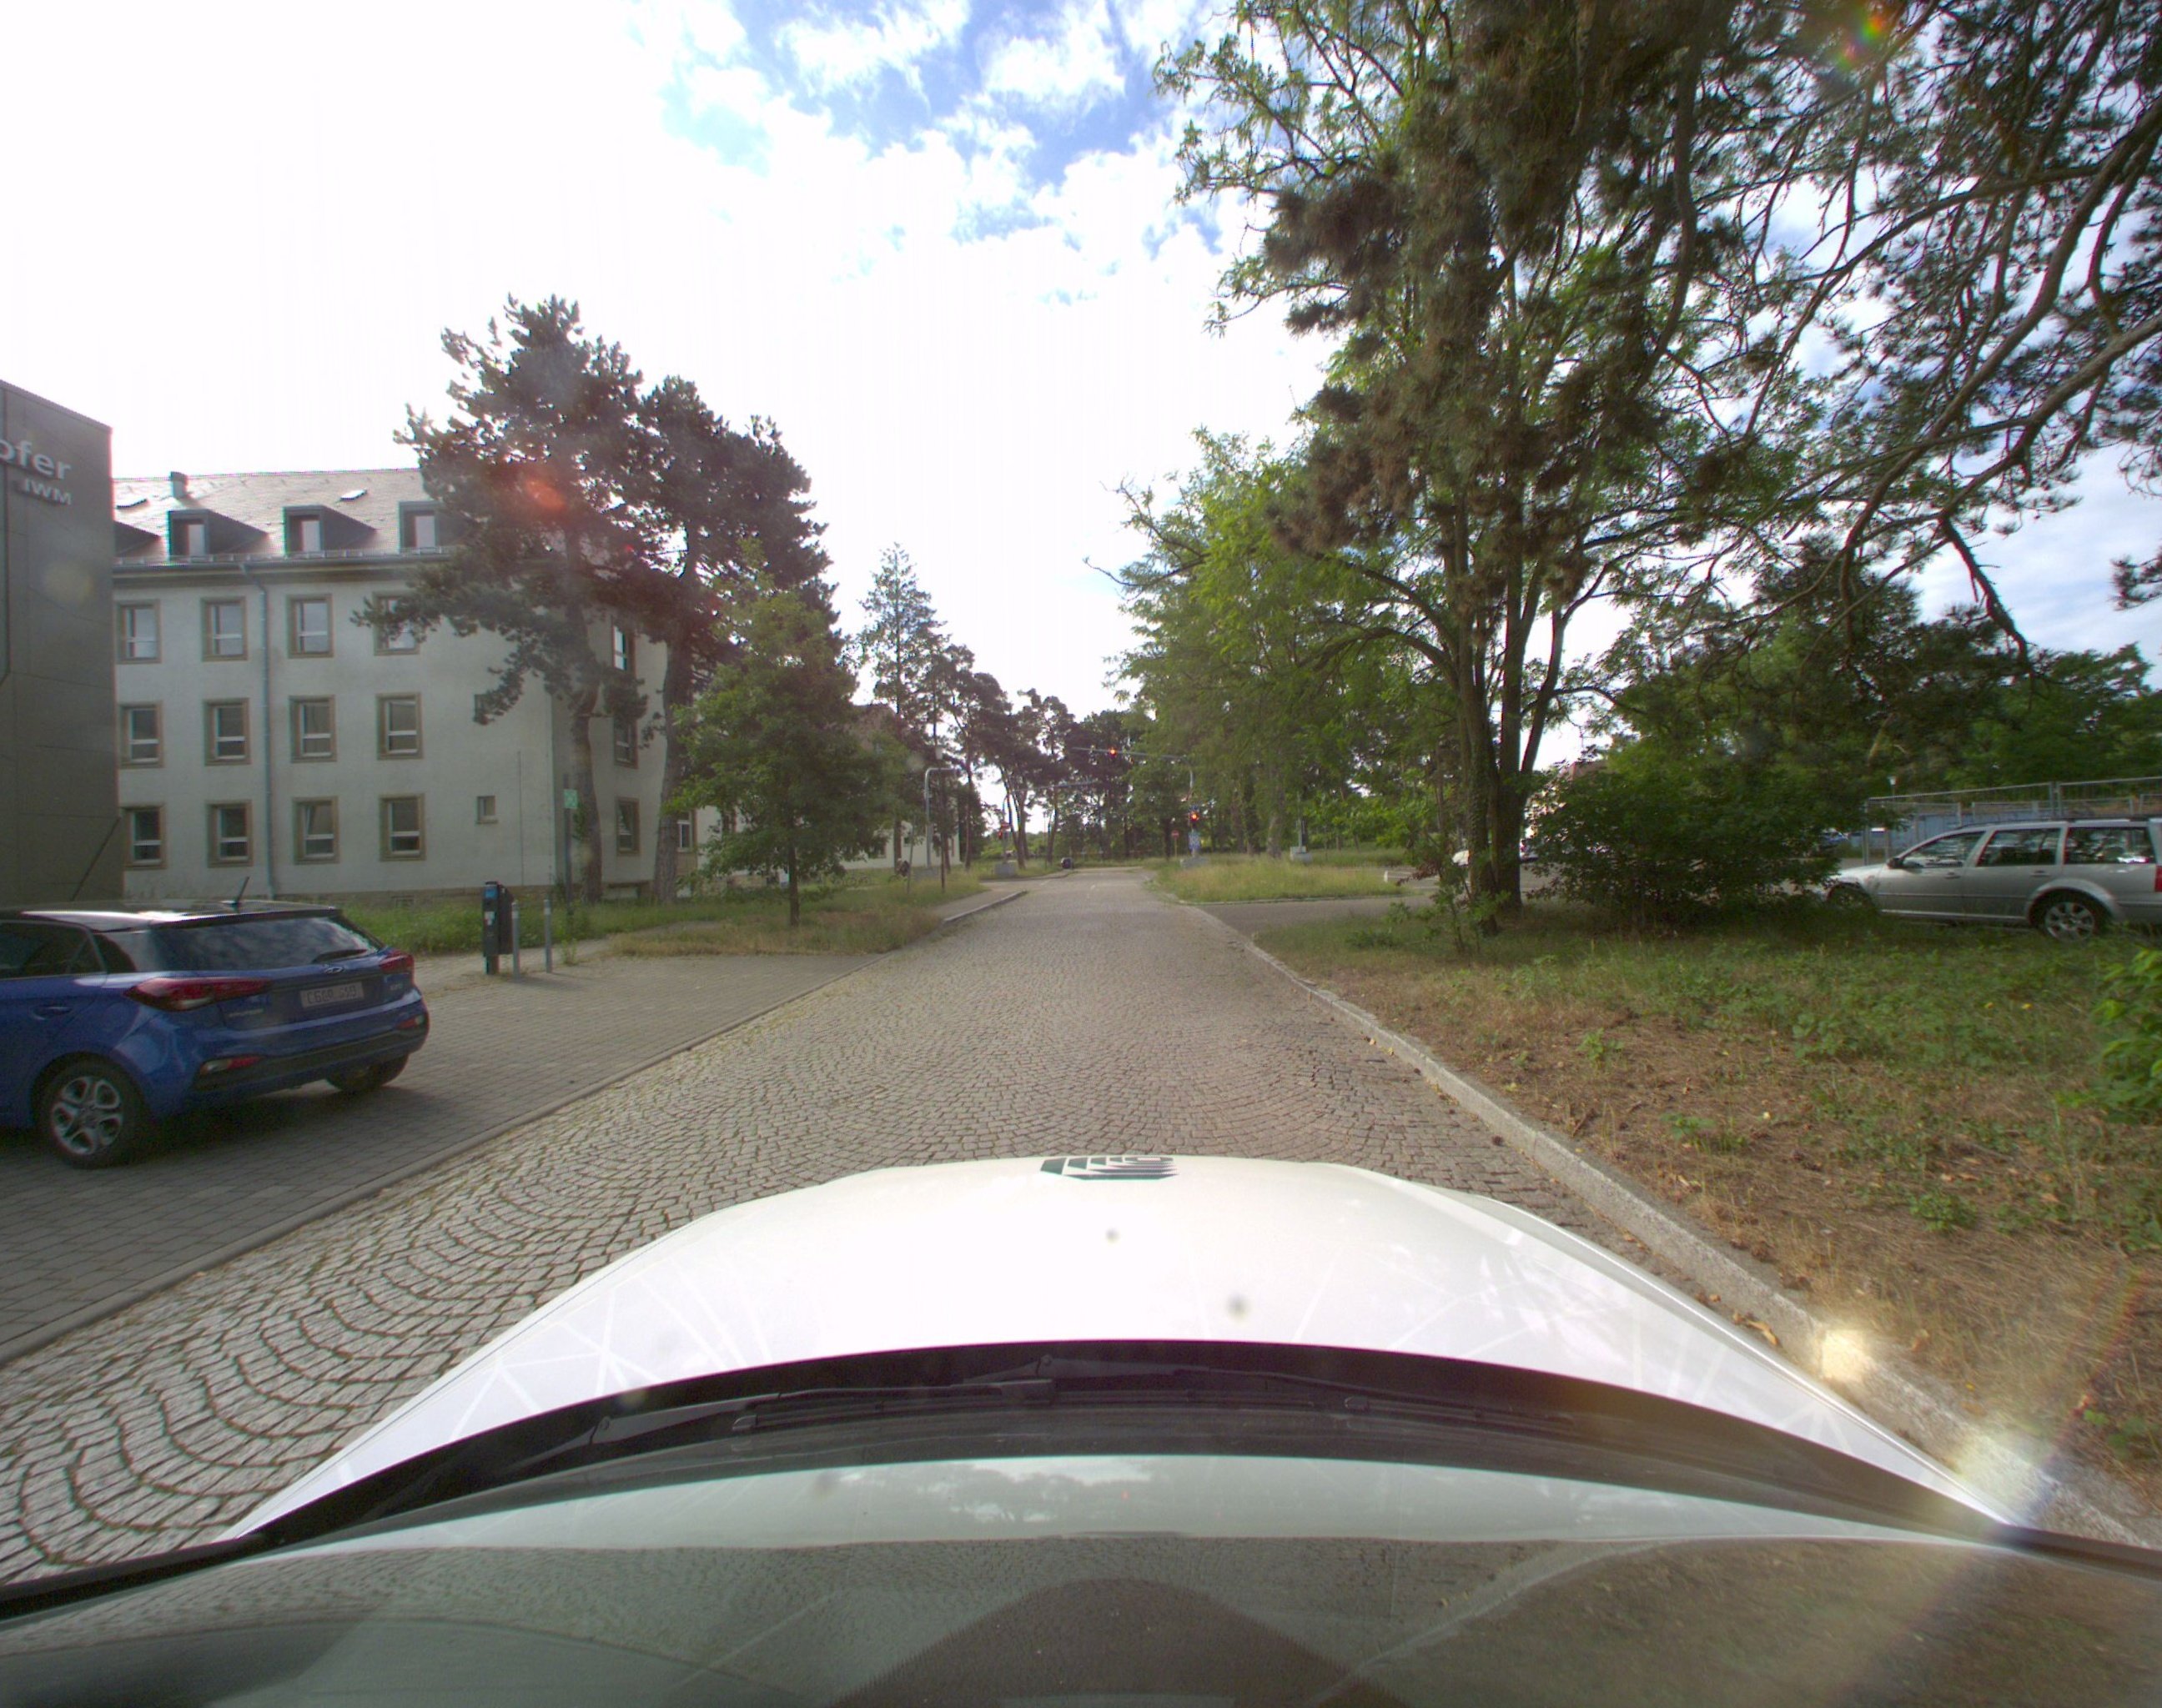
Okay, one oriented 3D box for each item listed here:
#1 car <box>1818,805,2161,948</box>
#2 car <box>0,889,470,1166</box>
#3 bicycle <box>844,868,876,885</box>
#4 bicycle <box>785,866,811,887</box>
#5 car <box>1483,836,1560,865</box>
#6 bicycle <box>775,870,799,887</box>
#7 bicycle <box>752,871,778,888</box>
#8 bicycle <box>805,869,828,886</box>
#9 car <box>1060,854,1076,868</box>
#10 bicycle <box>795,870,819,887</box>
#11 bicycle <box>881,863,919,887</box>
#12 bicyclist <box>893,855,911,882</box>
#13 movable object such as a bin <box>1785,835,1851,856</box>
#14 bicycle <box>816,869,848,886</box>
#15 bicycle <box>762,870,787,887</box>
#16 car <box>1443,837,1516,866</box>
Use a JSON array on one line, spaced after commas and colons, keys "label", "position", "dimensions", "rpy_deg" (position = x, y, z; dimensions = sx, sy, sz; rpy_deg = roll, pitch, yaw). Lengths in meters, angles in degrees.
[{"label": "car", "position": [11.615, 0.239, 9.930], "dimensions": [1.640, 1.427, 4.073], "rpy_deg": [1, 0, 1]}, {"label": "car", "position": [-6.779, 1.037, 5.635], "dimensions": [3.748, 1.478, 1.854], "rpy_deg": [-1, 0, 4]}, {"label": "bicycle", "position": [-14.775, 1.502, 54.480], "dimensions": [1.848, 1.076, 0.832], "rpy_deg": [-2, 0, 3]}, {"label": "bicycle", "position": [-19.474, 1.532, 56.079], "dimensions": [0.733, 1.385, 2.713], "rpy_deg": [-2, 0, 2]}, {"label": "car", "position": [25.608, -0.147, 47.512], "dimensions": [1.988, 1.481, 4.422], "rpy_deg": [-2, -2, -2]}, {"label": "bicycle", "position": [-20.265, 1.691, 56.207], "dimensions": [0.733, 1.076, 2.274], "rpy_deg": [-2, 0, 2]}, {"label": "bicycle", "position": [-21.655, 1.710, 55.818], "dimensions": [0.733, 1.076, 2.274], "rpy_deg": [-2, 0, 2]}, {"label": "bicycle", "position": [-18.098, 1.624, 55.771], "dimensions": [0.733, 1.076, 2.274], "rpy_deg": [-2, 0, 2]}, {"label": "car", "position": [-1.781, 0.915, 111.550], "dimensions": [2.048, 1.846, 4.001], "rpy_deg": [-2, 0, 1]}, {"label": "bicycle", "position": [-18.740, 1.653, 55.706], "dimensions": [0.733, 1.076, 2.274], "rpy_deg": [-2, 0, 2]}, {"label": "bicycle", "position": [-11.577, 1.327, 52.083], "dimensions": [2.187, 1.387, 0.932], "rpy_deg": [-2, 0, -22]}, {"label": "bicyclist", "position": [-11.477, 0.953, 52.146], "dimensions": [0.924, 1.697, 0.950], "rpy_deg": [-2, -1, -22]}, {"label": "movable object such as a bin", "position": [31.485, -0.356, 34.830], "dimensions": [1.179, 0.825, 1.957], "rpy_deg": [-2, 0, 6]}, {"label": "bicycle", "position": [-16.658, 1.559, 54.485], "dimensions": [1.848, 1.076, 0.739], "rpy_deg": [-2, 0, 3]}, {"label": "bicycle", "position": [-20.927, 1.687, 55.728], "dimensions": [0.733, 1.076, 2.274], "rpy_deg": [-2, 0, 2]}, {"label": "car", "position": [23.093, -0.120, 47.391], "dimensions": [1.988, 1.481, 4.422], "rpy_deg": [-2, -2, -2]}]
